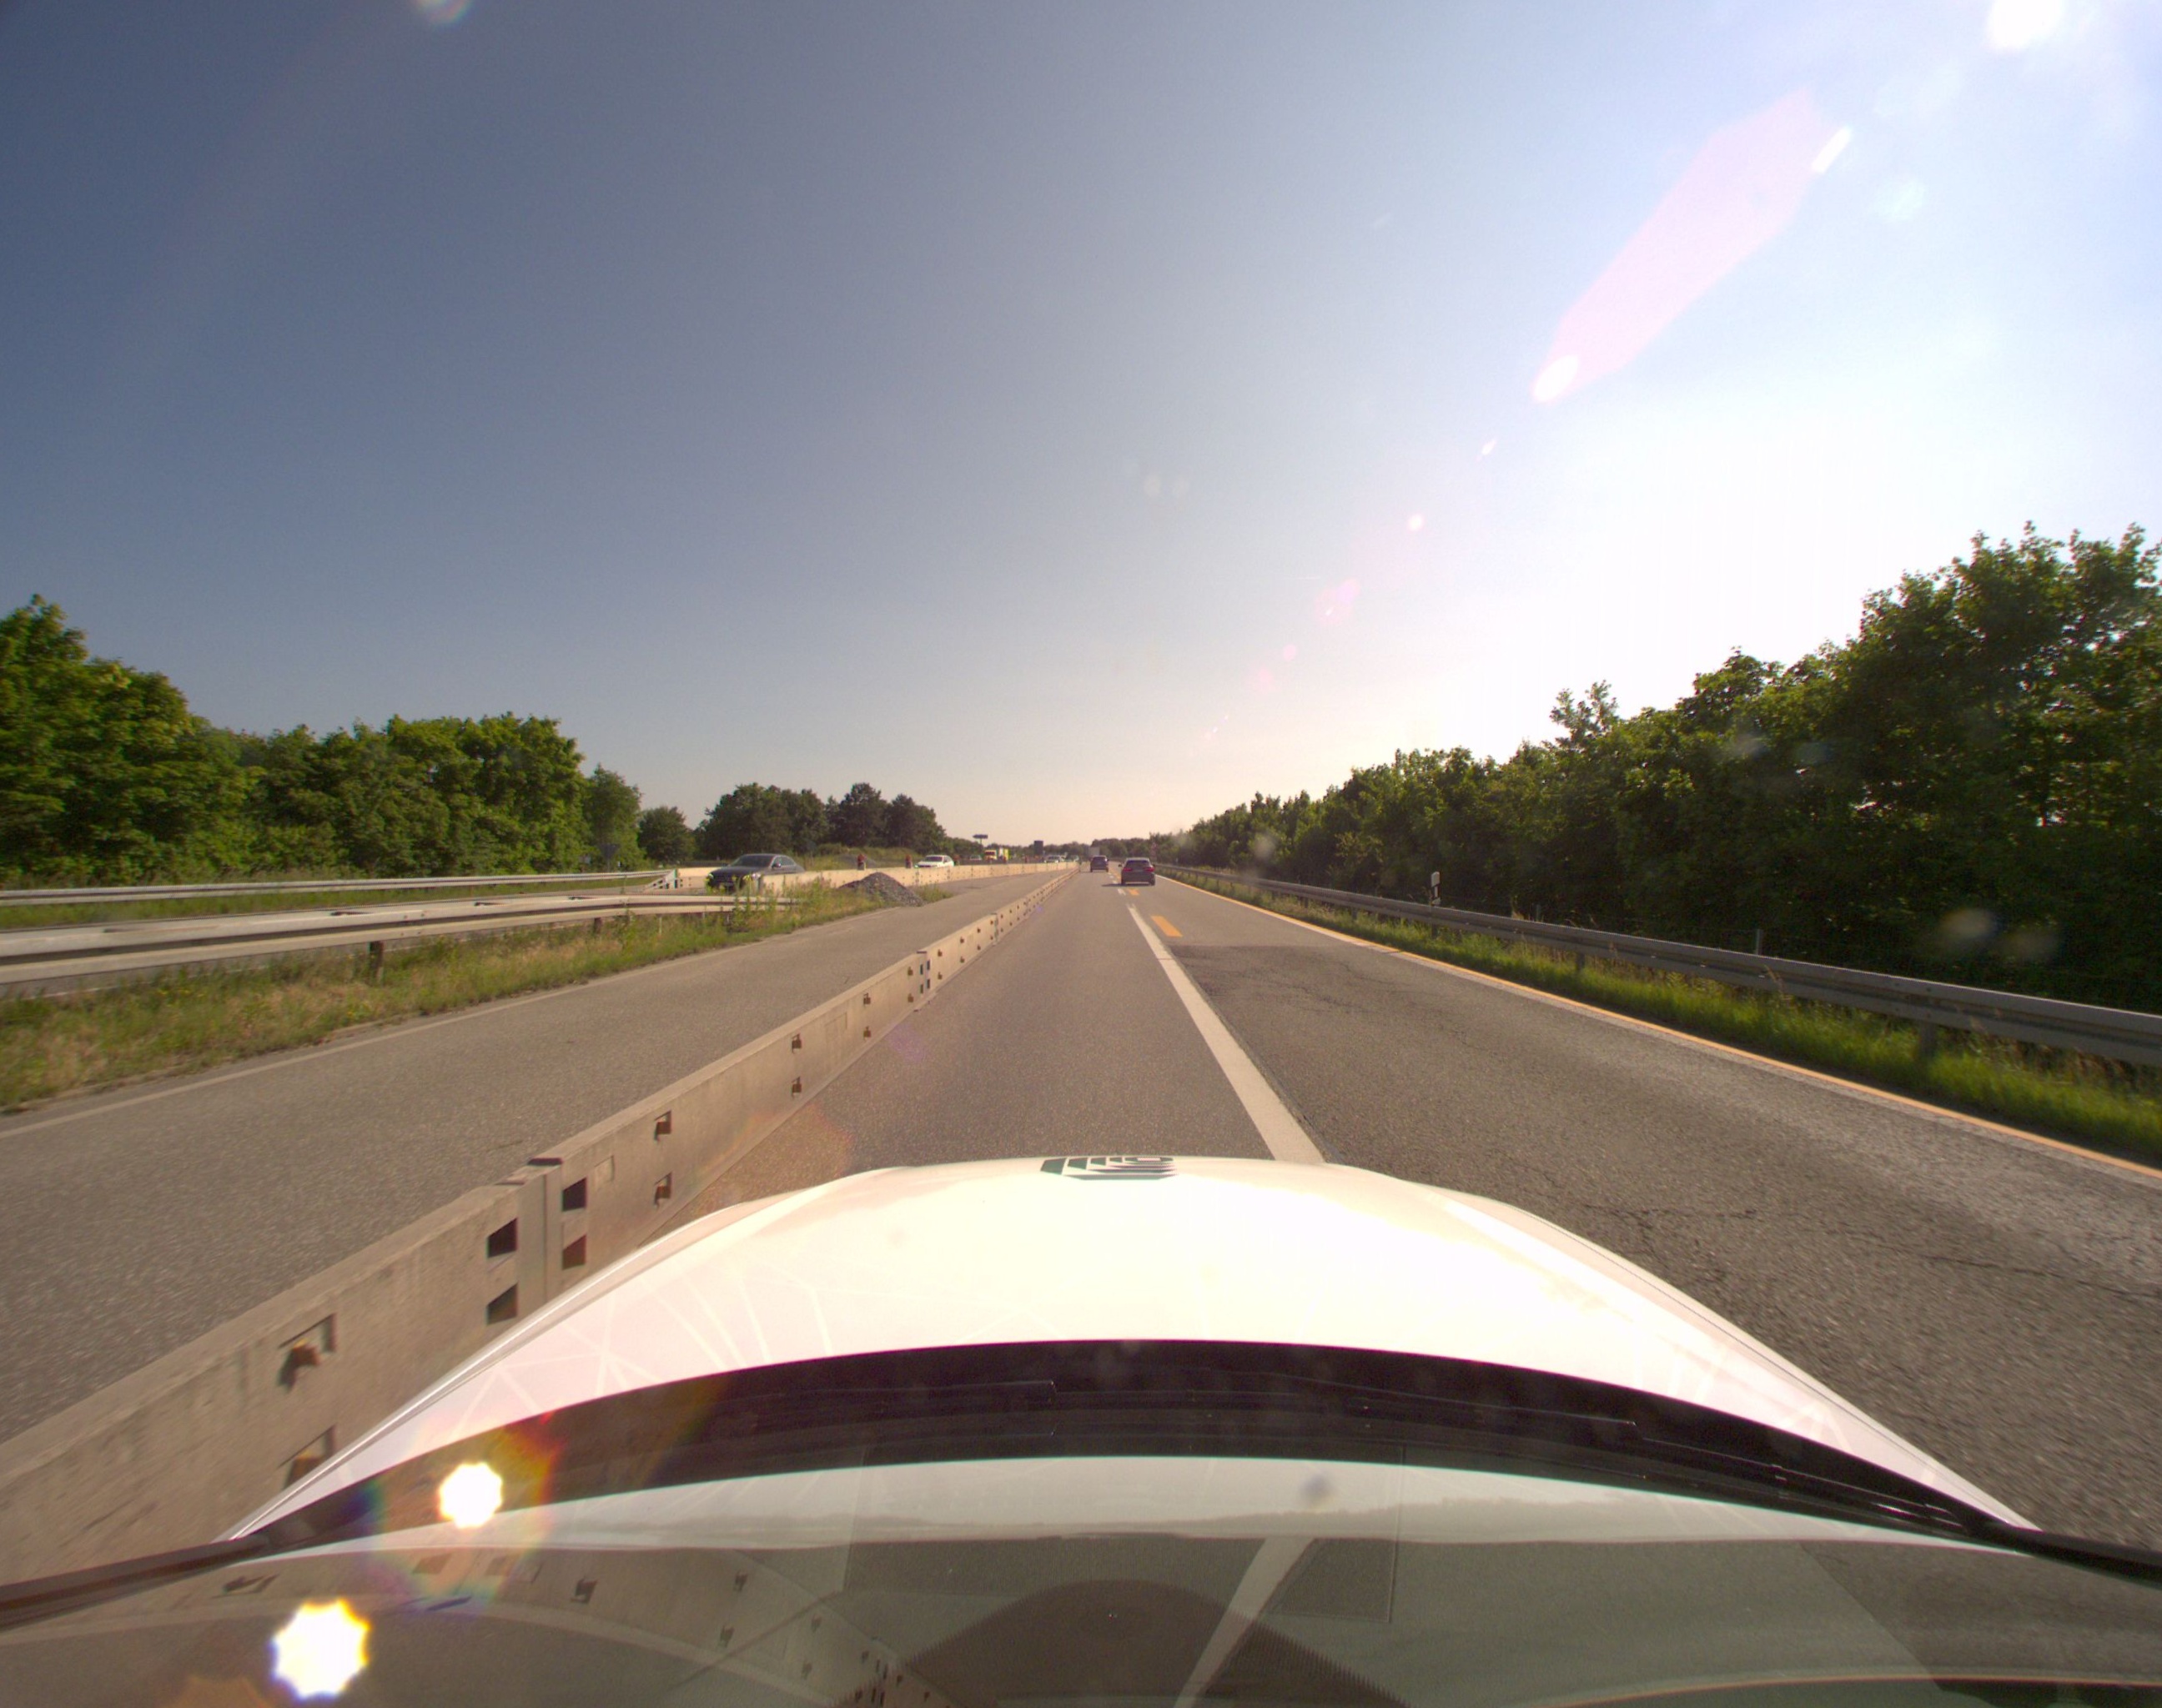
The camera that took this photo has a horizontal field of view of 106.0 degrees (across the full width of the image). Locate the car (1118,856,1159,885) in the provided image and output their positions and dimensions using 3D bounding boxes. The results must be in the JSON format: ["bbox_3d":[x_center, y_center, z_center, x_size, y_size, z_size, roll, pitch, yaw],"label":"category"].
[{"bbox_3d":[3.041,0.846,43.539,1.914,1.494,3.999,1,0,0],"label":"car"}]

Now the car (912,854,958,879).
[{"bbox_3d":[-9.936,0.807,55.759,1.807,1.608,4.448,0,0,7],"label":"car"}]

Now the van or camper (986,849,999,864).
[{"bbox_3d":[-14.551,0.411,133.927,1.990,2.378,6.191,1,0,-4],"label":"van or camper"}]

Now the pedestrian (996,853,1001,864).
[{"bbox_3d":[-13.277,0.696,131.079,0.741,1.820,0.794,1,0,-10],"label":"pedestrian"}]

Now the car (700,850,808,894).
[{"bbox_3d":[-11.722,0.612,29.586,1.832,1.440,4.815,-1,0,2],"label":"car"}]

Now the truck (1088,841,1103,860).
[{"bbox_3d":[3.979,-0.968,228.838,3.749,4.911,14.134,1,0,0],"label":"truck"}]

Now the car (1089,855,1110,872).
[{"bbox_3d":[1.785,0.901,79.038,1.986,1.567,4.002,-1,0,2],"label":"car"}]

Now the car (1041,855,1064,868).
[{"bbox_3d":[-3.478,0.925,99.371,1.982,1.515,4.591,0,0,8],"label":"car"}]
